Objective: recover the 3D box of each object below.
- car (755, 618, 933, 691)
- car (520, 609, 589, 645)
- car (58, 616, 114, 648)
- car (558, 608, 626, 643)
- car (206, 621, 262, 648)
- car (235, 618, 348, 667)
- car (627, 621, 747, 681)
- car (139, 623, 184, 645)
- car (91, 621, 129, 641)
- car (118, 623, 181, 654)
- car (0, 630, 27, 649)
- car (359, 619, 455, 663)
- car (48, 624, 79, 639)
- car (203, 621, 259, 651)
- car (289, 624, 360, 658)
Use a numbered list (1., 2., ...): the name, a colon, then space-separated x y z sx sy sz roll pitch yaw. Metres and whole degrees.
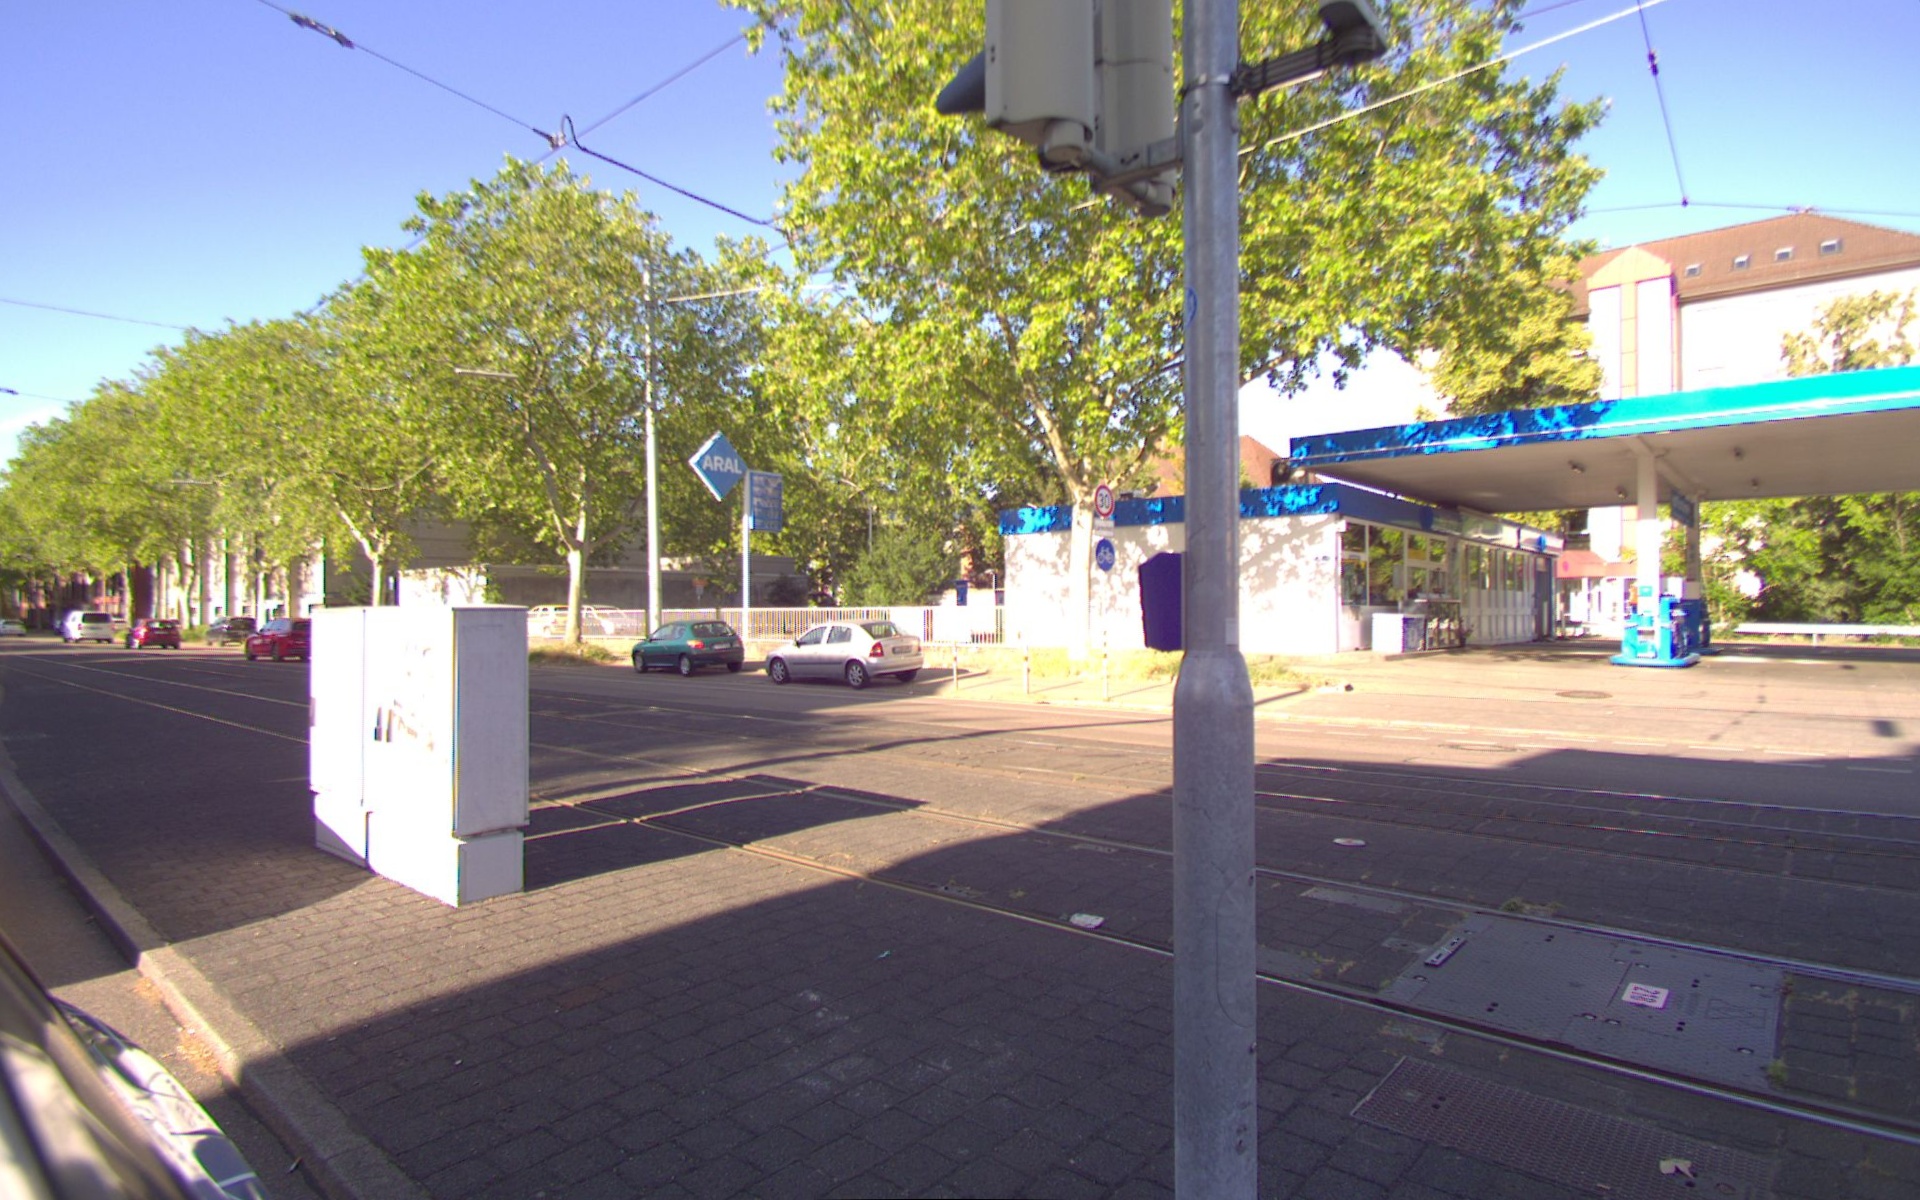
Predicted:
1. car: -2.657 1.146 22.608 3.998 1.431 1.709 -1 0 41
2. car: -16.841 1.099 41.982 3.151 1.431 1.525 -1 0 44
3. car: -53.196 1.922 61.583 4.390 1.860 1.827 -1 -2 39
4. car: -15.848 1.086 43.561 3.151 1.431 1.525 -1 0 44
5. car: -40.602 1.892 56.579 3.998 1.420 1.678 -1 -2 41
6. car: -22.432 1.390 33.899 4.761 1.534 1.887 -1 -2 40
7. car: -7.271 1.304 26.830 3.253 1.431 1.526 -1 0 41
8. car: -53.812 2.295 68.203 3.998 1.420 1.678 -1 -2 41
9. car: -66.813 2.419 79.550 3.998 1.569 1.678 -1 -2 41
10. car: -39.153 1.845 48.882 3.998 1.431 1.678 -1 -3 41
11. car: -80.651 3.352 85.928 3.998 1.507 1.741 -1 0 41
12. car: -21.967 1.575 40.136 4.431 1.534 1.731 -1 3 40
13. car: -85.183 2.979 96.167 3.998 1.420 1.678 -1 -2 41
14. car: -40.737 1.984 56.538 3.998 1.587 1.678 -1 -2 41
15. car: -29.034 1.829 46.198 3.998 1.480 1.678 -1 -2 41
